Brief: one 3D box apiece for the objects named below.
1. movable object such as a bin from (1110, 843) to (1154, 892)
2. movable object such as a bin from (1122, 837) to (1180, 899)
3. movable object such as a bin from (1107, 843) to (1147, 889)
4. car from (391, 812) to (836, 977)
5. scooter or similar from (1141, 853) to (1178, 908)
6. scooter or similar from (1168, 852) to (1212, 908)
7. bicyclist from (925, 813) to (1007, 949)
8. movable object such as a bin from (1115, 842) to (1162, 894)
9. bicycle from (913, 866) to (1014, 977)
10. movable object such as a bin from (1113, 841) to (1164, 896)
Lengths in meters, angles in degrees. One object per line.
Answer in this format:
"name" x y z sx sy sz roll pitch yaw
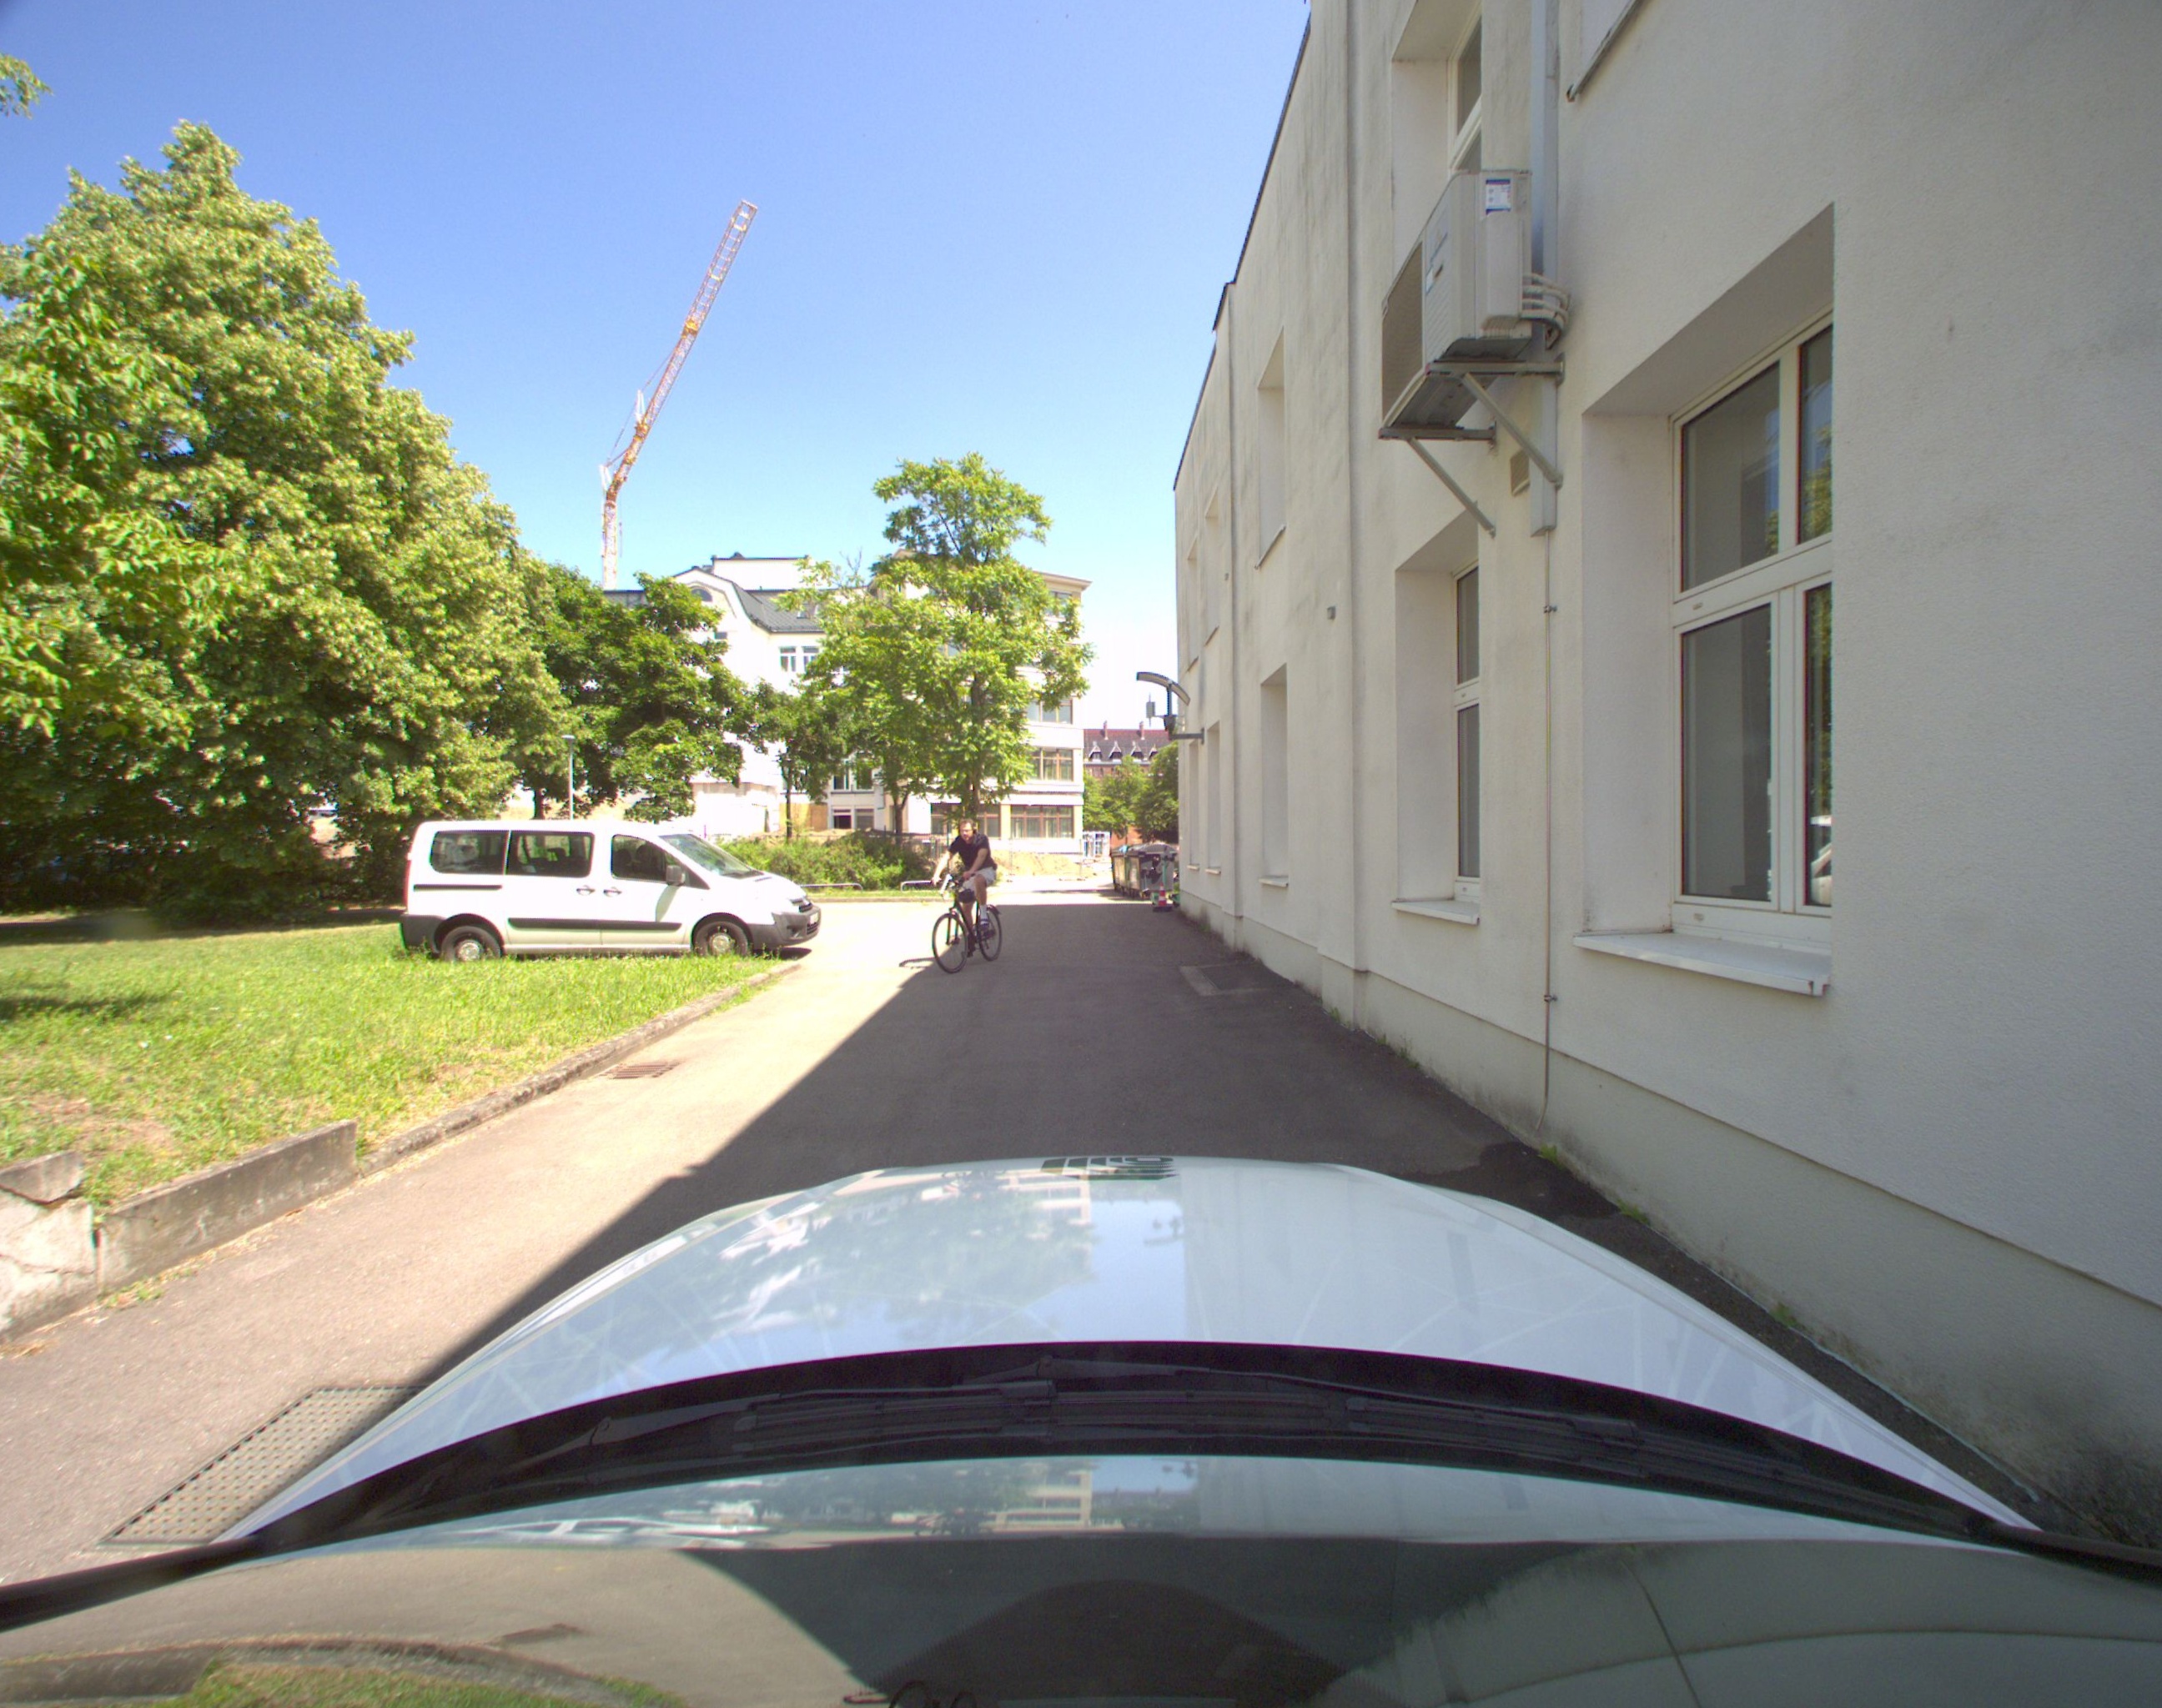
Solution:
"movable object such as a bin" 1.571 0.407 25.362 1.177 1.470 1.308 0 -1 -7
"movable object such as a bin" 1.760 0.351 20.808 1.155 1.505 1.457 0 -1 -10
"movable object such as a bin" 1.530 0.385 26.901 1.171 1.470 1.337 0 -1 10
"car" -6.023 0.475 11.090 4.782 1.911 1.996 -1 0 -6
"scooter or similar" 1.725 0.570 18.056 0.463 1.174 1.353 -1 0 -9
"scooter or similar" 2.382 0.550 17.900 0.465 1.174 1.248 -1 0 -18
"bicyclist" -1.417 0.302 10.179 0.718 1.609 0.981 0 1 11
"movable object such as a bin" 1.666 0.414 23.924 1.177 1.470 1.309 0 -1 -5
"bicycle" -1.415 0.776 10.192 0.639 1.174 1.911 0 1 11
"movable object such as a bin" 1.586 0.390 22.537 1.178 1.470 1.308 0 -1 -7
